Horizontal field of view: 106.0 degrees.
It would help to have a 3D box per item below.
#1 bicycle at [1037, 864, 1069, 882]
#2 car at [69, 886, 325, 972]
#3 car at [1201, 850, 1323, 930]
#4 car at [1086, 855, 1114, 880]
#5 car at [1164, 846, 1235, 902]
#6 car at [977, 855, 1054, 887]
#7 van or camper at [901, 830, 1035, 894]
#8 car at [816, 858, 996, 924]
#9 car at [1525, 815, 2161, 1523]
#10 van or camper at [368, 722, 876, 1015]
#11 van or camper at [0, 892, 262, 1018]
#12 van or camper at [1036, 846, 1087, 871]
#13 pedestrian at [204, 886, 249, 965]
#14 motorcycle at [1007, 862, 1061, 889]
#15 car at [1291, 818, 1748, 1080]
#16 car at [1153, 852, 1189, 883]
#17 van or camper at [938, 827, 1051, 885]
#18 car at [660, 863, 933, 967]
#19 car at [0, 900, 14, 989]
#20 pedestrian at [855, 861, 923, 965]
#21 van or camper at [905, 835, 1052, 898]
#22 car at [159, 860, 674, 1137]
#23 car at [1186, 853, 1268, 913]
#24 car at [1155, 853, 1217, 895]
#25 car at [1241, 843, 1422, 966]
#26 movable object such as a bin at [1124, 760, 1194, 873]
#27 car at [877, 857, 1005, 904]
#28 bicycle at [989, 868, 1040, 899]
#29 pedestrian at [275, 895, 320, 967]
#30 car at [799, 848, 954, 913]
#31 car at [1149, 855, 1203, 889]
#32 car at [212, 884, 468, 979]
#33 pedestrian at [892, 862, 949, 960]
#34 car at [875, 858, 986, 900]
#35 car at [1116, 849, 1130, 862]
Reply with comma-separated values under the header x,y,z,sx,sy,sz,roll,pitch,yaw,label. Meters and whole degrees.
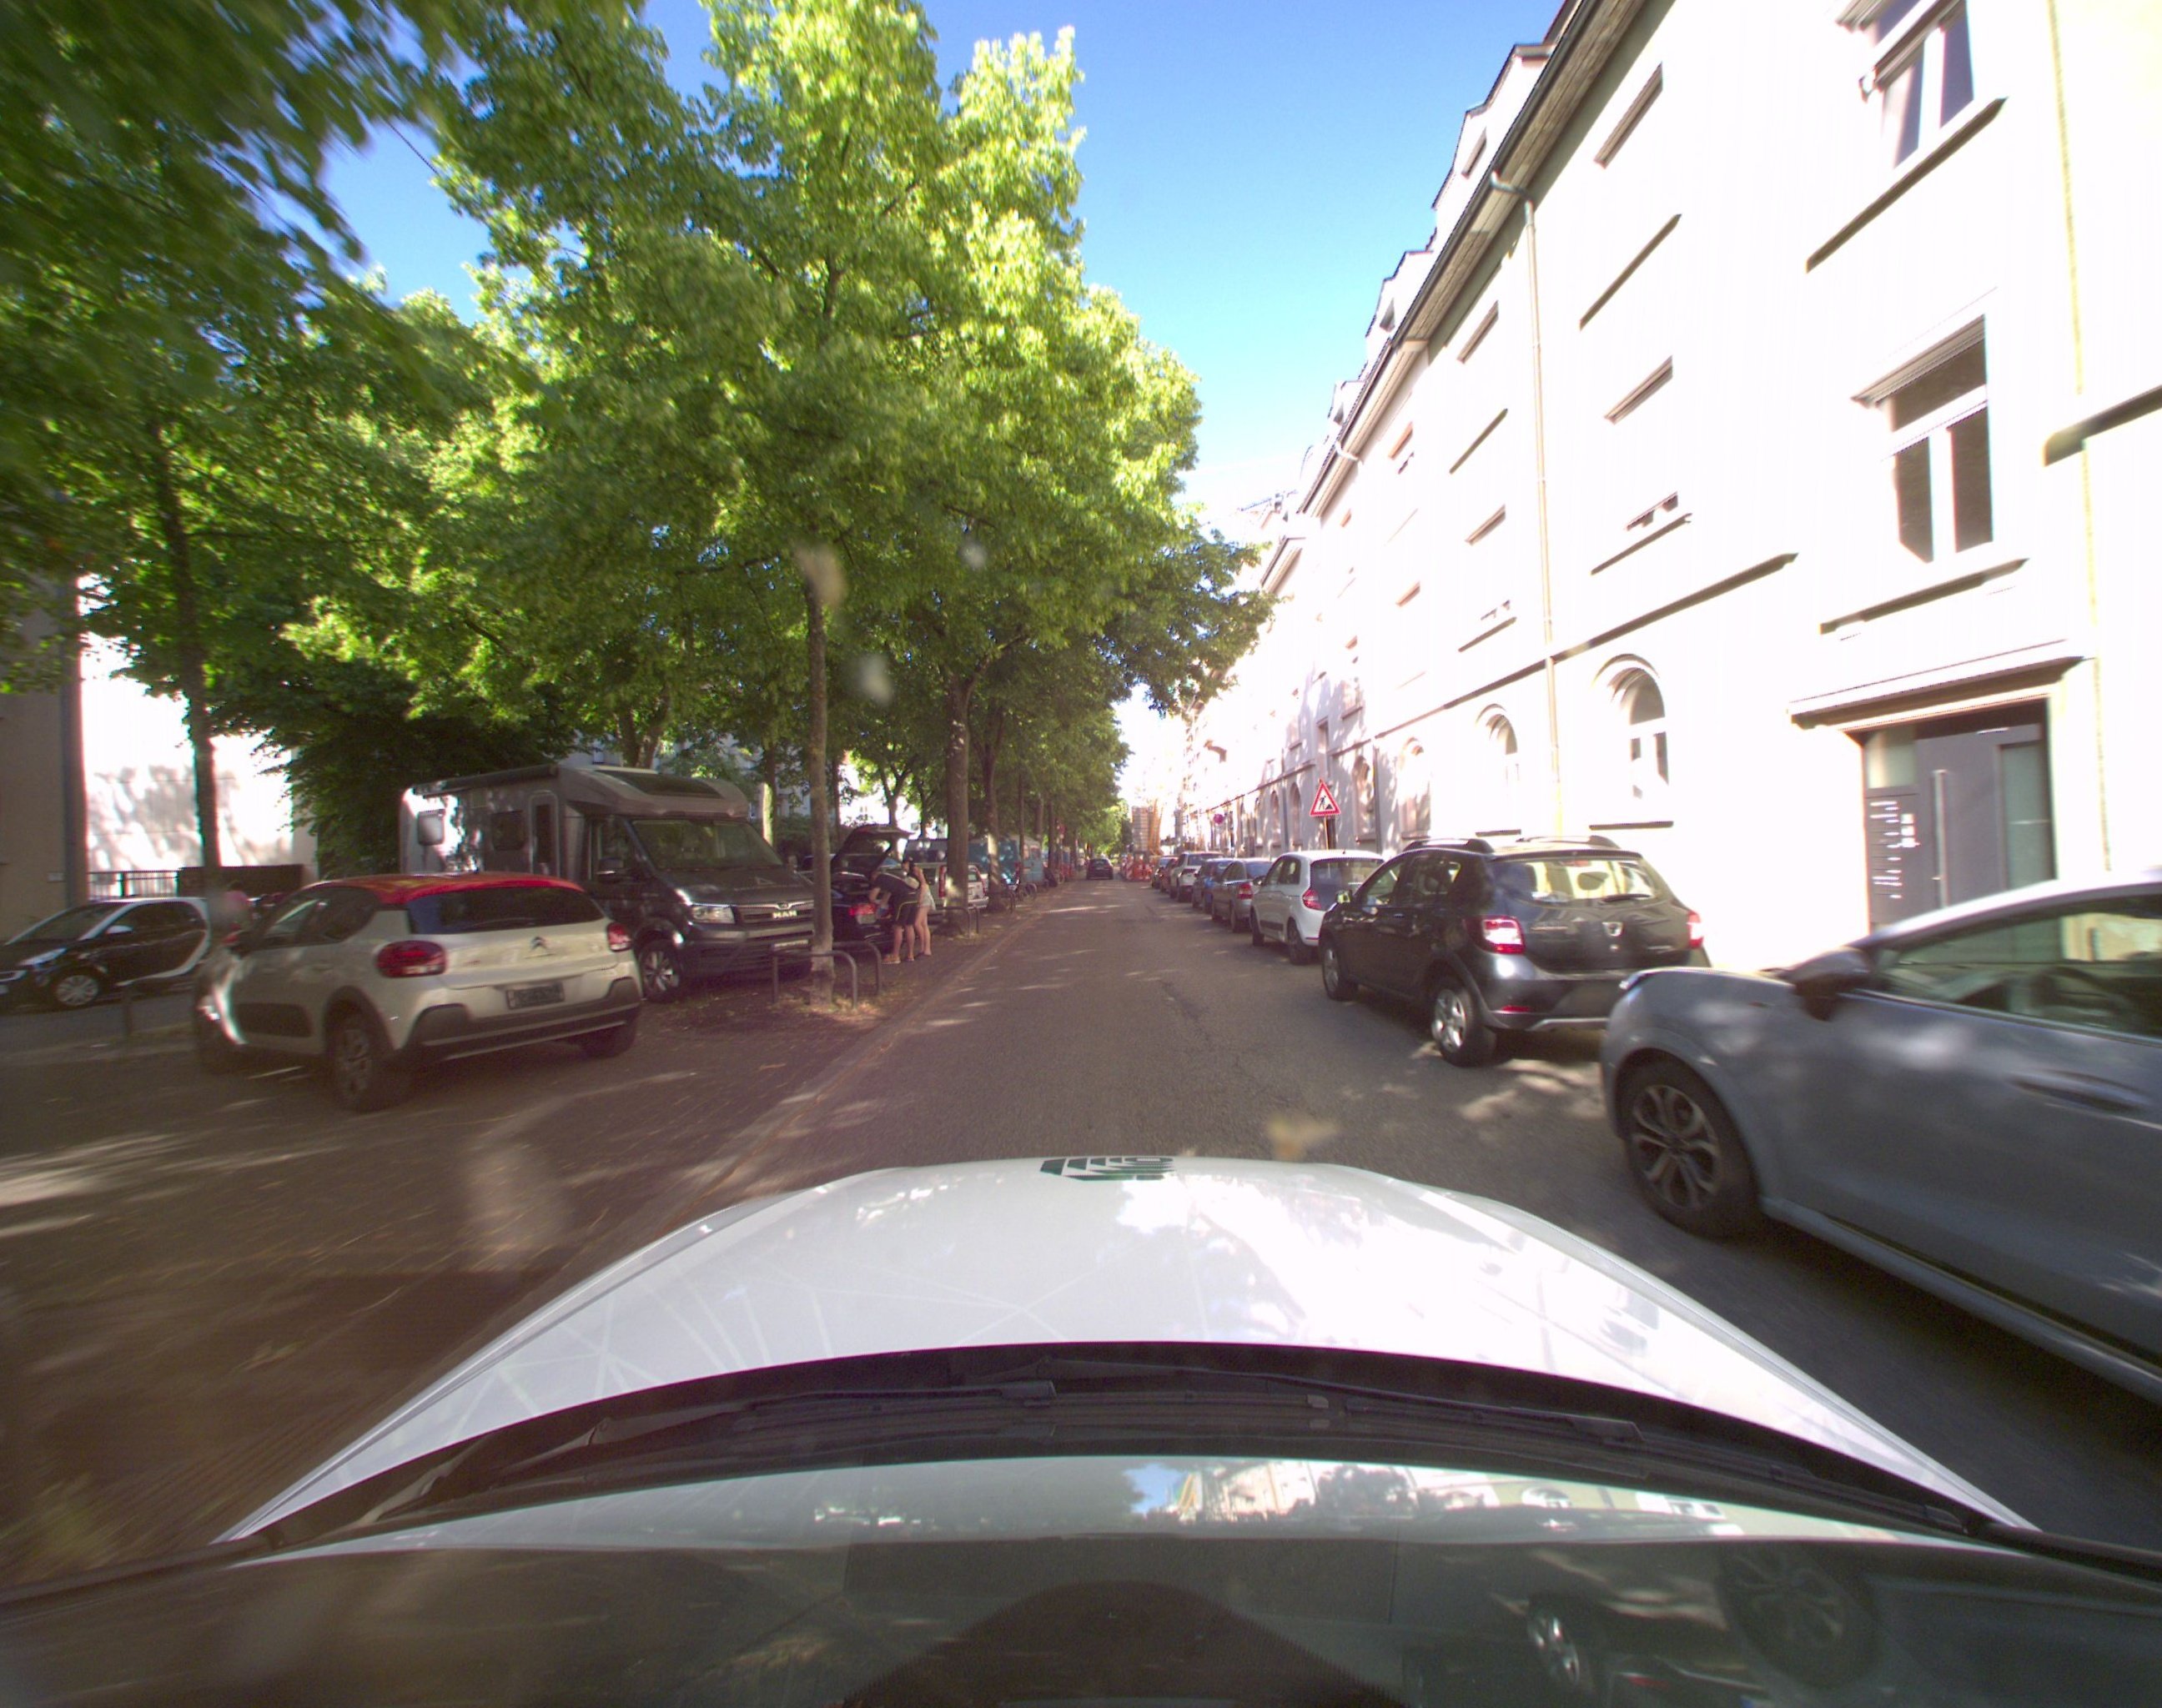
x,y,z,sx,sy,sz,roll,pitch,yaw,label
-1.638,1.098,47.531,1.879,1.006,0.433,-2,0,25,bicycle
-19.354,1.577,18.088,1.619,1.482,3.613,-3,0,2,car
3.636,0.658,17.053,1.625,1.413,4.088,-2,0,0,car
1.275,0.868,54.844,1.791,1.503,3.586,-3,0,1,car
3.932,0.622,27.638,1.810,1.674,4.675,-2,0,2,car
-3.738,0.974,46.326,3.916,1.629,1.834,-2,0,27,car
-5.202,0.394,37.211,5.811,2.637,2.269,-3,0,31,van or camper
-4.424,0.910,20.331,4.431,1.443,1.744,-2,0,34,car
3.170,0.653,2.104,1.717,1.528,4.157,-2,0,0,car
-6.342,0.264,10.869,7.157,2.929,2.328,-3,0,28,van or camper
-14.849,1.475,12.558,1.590,1.555,2.698,-3,0,1,van or camper
-2.184,0.508,91.868,5.280,2.474,2.309,-3,0,33,van or camper
-20.395,1.700,19.439,0.497,1.826,0.463,-3,0,1,pedestrian
-2.366,1.068,41.093,2.534,1.258,0.765,-2,0,9,motorcycle
3.344,0.600,7.273,1.718,1.596,4.155,-2,0,-2,car
4.678,0.692,42.610,1.586,1.530,2.780,-2,0,0,car
-5.368,0.140,50.328,6.592,3.240,2.511,-3,0,30,van or camper
-4.664,0.943,13.224,4.274,1.424,1.685,-2,0,28,car
-19.013,1.572,12.034,1.619,1.482,3.613,-3,0,2,car
-2.826,0.859,12.003,0.703,1.456,0.600,-3,0,24,pedestrian
-4.162,0.505,32.939,5.447,2.275,2.233,-3,0,25,van or camper
-5.253,0.902,6.348,3.948,1.507,1.768,-3,0,30,car
3.892,0.718,22.206,1.611,1.413,3.789,-2,0,2,car
4.211,0.770,33.095,1.786,1.523,3.959,-2,0,-3,car
3.617,0.653,12.404,1.625,1.534,3.592,-2,0,0,car
4.864,-2.238,51.027,3.445,6.759,2.383,-2,-1,34,movable object such as a bin
-4.724,0.891,27.442,3.905,1.443,1.858,-2,0,29,car
-2.378,1.055,29.220,1.730,1.006,0.507,-2,0,-29,bicycle
-19.521,1.910,20.294,0.497,1.727,0.559,-3,0,1,pedestrian
-6.161,0.808,24.414,4.501,1.764,1.822,-2,0,32,car
4.334,0.795,37.795,1.987,1.409,4.501,-2,0,1,car
-14.856,1.480,16.656,1.657,1.499,3.771,-2,0,2,car
-2.487,0.873,12.622,0.609,1.456,0.522,-3,0,24,pedestrian
-5.705,0.948,30.731,3.947,1.431,1.732,-2,0,32,car
6.172,0.174,119.348,1.791,1.800,3.586,-3,0,1,car
